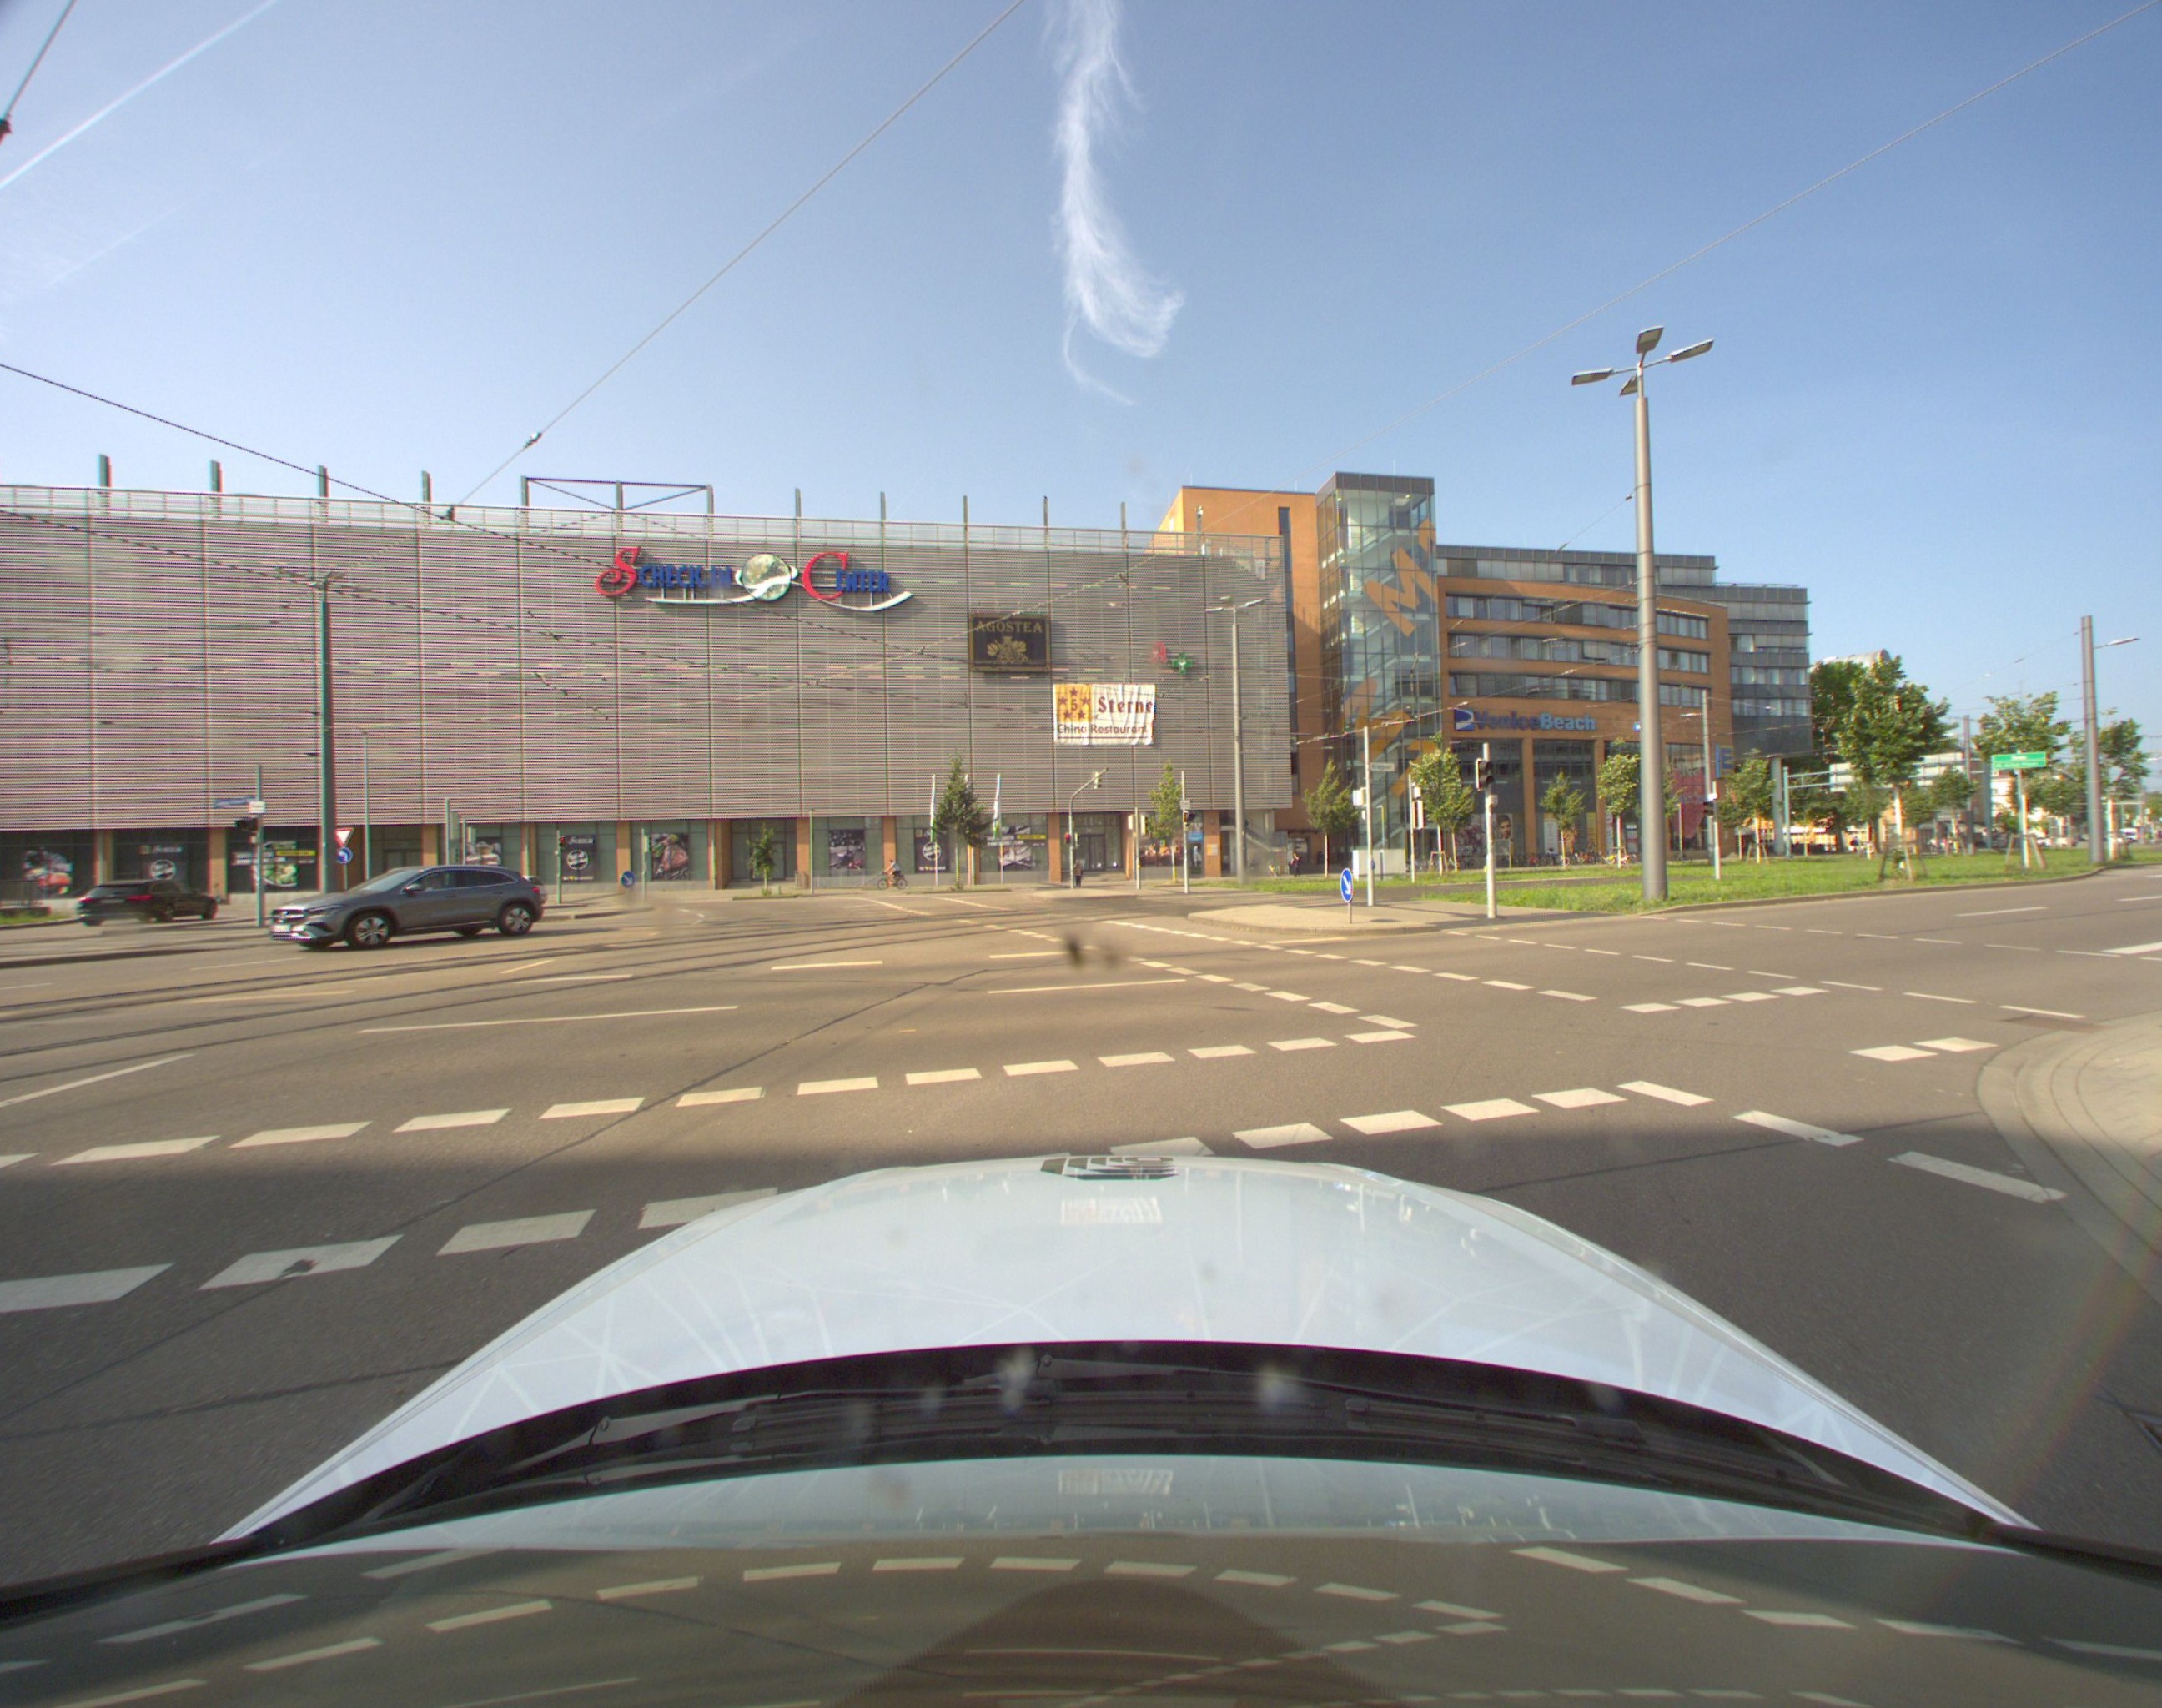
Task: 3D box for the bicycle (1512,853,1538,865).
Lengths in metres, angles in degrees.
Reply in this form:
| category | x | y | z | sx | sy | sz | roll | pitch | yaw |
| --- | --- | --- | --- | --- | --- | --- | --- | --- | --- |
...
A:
| category | x | y | z | sx | sy | sz | roll | pitch | yaw |
| --- | --- | --- | --- | --- | --- | --- | --- | --- | --- |
| bicycle | 35.224 | 0.385 | 64.692 | 0.572 | 0.921 | 2.045 | -1 | -1 | -14 |

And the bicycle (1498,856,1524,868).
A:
| category | x | y | z | sx | sy | sz | roll | pitch | yaw |
| --- | --- | --- | --- | --- | --- | --- | --- | --- | --- |
| bicycle | 33.964 | 0.615 | 64.303 | 0.572 | 0.921 | 2.045 | -1 | -1 | -14 |

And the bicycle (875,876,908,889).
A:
| category | x | y | z | sx | sy | sz | roll | pitch | yaw |
| --- | --- | --- | --- | --- | --- | --- | --- | --- | --- |
| bicycle | -11.117 | 1.669 | 47.809 | 1.861 | 0.779 | 0.581 | 0 | -2 | -7 |

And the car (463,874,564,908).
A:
| category | x | y | z | sx | sy | sz | roll | pitch | yaw |
| --- | --- | --- | --- | --- | --- | --- | --- | --- | --- |
| car | -26.470 | 1.705 | 38.087 | 3.391 | 1.560 | 1.737 | 0 | -1 | -10 |

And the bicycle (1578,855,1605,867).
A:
| category | x | y | z | sx | sy | sz | roll | pitch | yaw |
| --- | --- | --- | --- | --- | --- | --- | --- | --- | --- |
| bicycle | 41.873 | 0.562 | 66.841 | 0.572 | 0.921 | 2.045 | -1 | -1 | -14 |

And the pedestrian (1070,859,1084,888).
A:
| category | x | y | z | sx | sy | sz | roll | pitch | yaw |
| --- | --- | --- | --- | --- | --- | --- | --- | --- | --- |
| pedestrian | -0.204 | 1.108 | 45.829 | 0.589 | 1.579 | 0.760 | -1 | -1 | -13 |

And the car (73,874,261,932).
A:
| category | x | y | z | sx | sy | sz | roll | pitch | yaw |
| --- | --- | --- | --- | --- | --- | --- | --- | --- | --- |
| car | -30.527 | 1.579 | 27.404 | 1.991 | 1.695 | 3.991 | -1 | 0 | -6 |

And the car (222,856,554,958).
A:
| category | x | y | z | sx | sy | sz | roll | pitch | yaw |
| --- | --- | --- | --- | --- | --- | --- | --- | --- | --- |
| car | -13.905 | 0.978 | 16.804 | 1.932 | 1.783 | 4.839 | -1 | -1 | 21 |

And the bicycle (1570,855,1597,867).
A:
| category | x | y | z | sx | sy | sz | roll | pitch | yaw |
| --- | --- | --- | --- | --- | --- | --- | --- | --- | --- |
| bicycle | 41.020 | 0.595 | 66.551 | 0.572 | 0.921 | 2.045 | -1 | -1 | -14 |

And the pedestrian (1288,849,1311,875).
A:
| category | x | y | z | sx | sy | sz | roll | pitch | yaw |
| --- | --- | --- | --- | --- | --- | --- | --- | --- | --- |
| pedestrian | 14.651 | 0.557 | 54.626 | 1.172 | 1.719 | 0.817 | -2 | -1 | -9 |

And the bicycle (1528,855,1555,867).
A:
| category | x | y | z | sx | sy | sz | roll | pitch | yaw |
| --- | --- | --- | --- | --- | --- | --- | --- | --- | --- |
| bicycle | 36.854 | 0.551 | 65.226 | 0.572 | 0.921 | 2.045 | -1 | -1 | -14 |

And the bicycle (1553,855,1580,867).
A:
| category | x | y | z | sx | sy | sz | roll | pitch | yaw |
| --- | --- | --- | --- | --- | --- | --- | --- | --- | --- |
| bicycle | 39.356 | 0.584 | 66.002 | 0.572 | 0.921 | 2.045 | -1 | -1 | -14 |

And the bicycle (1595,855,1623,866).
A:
| category | x | y | z | sx | sy | sz | roll | pitch | yaw |
| --- | --- | --- | --- | --- | --- | --- | --- | --- | --- |
| bicycle | 43.520 | 0.548 | 67.132 | 0.572 | 0.921 | 2.045 | -1 | -1 | -14 |

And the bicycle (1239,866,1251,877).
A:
| category | x | y | z | sx | sy | sz | roll | pitch | yaw |
| --- | --- | --- | --- | --- | --- | --- | --- | --- | --- |
| bicycle | 11.020 | 1.180 | 54.788 | 0.450 | 0.752 | 1.003 | -2 | -1 | -8 |

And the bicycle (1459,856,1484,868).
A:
| category | x | y | z | sx | sy | sz | roll | pitch | yaw |
| --- | --- | --- | --- | --- | --- | --- | --- | --- | --- |
| bicycle | 30.407 | 0.612 | 63.405 | 0.572 | 0.921 | 2.045 | -1 | -1 | -14 |

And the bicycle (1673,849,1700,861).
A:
| category | x | y | z | sx | sy | sz | roll | pitch | yaw |
| --- | --- | --- | --- | --- | --- | --- | --- | --- | --- |
| bicycle | 46.842 | 0.095 | 63.011 | 0.707 | 0.907 | 1.675 | -1 | -1 | -9 |

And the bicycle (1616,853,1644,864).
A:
| category | x | y | z | sx | sy | sz | roll | pitch | yaw |
| --- | --- | --- | --- | --- | --- | --- | --- | --- | --- |
| bicycle | 45.749 | 0.370 | 67.911 | 0.572 | 0.921 | 2.045 | -1 | -1 | -14 |

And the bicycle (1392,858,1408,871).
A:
| category | x | y | z | sx | sy | sz | roll | pitch | yaw |
| --- | --- | --- | --- | --- | --- | --- | --- | --- | --- |
| bicycle | 22.943 | 0.767 | 58.565 | 0.256 | 0.887 | 1.461 | 0 | -1 | -13 |

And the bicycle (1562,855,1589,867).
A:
| category | x | y | z | sx | sy | sz | roll | pitch | yaw |
| --- | --- | --- | --- | --- | --- | --- | --- | --- | --- |
| bicycle | 40.181 | 0.592 | 66.246 | 0.572 | 0.921 | 2.045 | -1 | -1 | -14 |

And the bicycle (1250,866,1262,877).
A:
| category | x | y | z | sx | sy | sz | roll | pitch | yaw |
| --- | --- | --- | --- | --- | --- | --- | --- | --- | --- |
| bicycle | 11.792 | 1.174 | 54.919 | 0.450 | 0.752 | 1.003 | -2 | -1 | -8 |

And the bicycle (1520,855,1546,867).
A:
| category | x | y | z | sx | sy | sz | roll | pitch | yaw |
| --- | --- | --- | --- | --- | --- | --- | --- | --- | --- |
| bicycle | 36.031 | 0.591 | 64.936 | 0.572 | 0.921 | 2.045 | -1 | -1 | -14 |

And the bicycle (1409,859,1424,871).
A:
| category | x | y | z | sx | sy | sz | roll | pitch | yaw |
| --- | --- | --- | --- | --- | --- | --- | --- | --- | --- |
| bicycle | 24.223 | 0.762 | 58.825 | 0.256 | 0.830 | 1.462 | 0 | 1 | -13 |

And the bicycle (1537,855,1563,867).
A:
| category | x | y | z | sx | sy | sz | roll | pitch | yaw |
| --- | --- | --- | --- | --- | --- | --- | --- | --- | --- |
| bicycle | 37.663 | 0.576 | 65.454 | 0.572 | 0.921 | 2.045 | -1 | -1 | -14 |

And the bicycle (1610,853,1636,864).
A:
| category | x | y | z | sx | sy | sz | roll | pitch | yaw |
| --- | --- | --- | --- | --- | --- | --- | --- | --- | --- |
| bicycle | 45.050 | 0.368 | 67.678 | 0.380 | 0.921 | 2.045 | -1 | -1 | -14 |

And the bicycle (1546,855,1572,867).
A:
| category | x | y | z | sx | sy | sz | roll | pitch | yaw |
| --- | --- | --- | --- | --- | --- | --- | --- | --- | --- |
| bicycle | 38.548 | 0.581 | 65.699 | 0.572 | 0.921 | 2.045 | -1 | -1 | -14 |

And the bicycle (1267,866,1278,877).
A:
| category | x | y | z | sx | sy | sz | roll | pitch | yaw |
| --- | --- | --- | --- | --- | --- | --- | --- | --- | --- |
| bicycle | 12.965 | 1.166 | 55.100 | 0.359 | 0.752 | 1.021 | -2 | -1 | -8 |

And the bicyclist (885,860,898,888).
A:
| category | x | y | z | sx | sy | sz | roll | pitch | yaw |
| --- | --- | --- | --- | --- | --- | --- | --- | --- | --- |
| bicyclist | -11.111 | 1.165 | 47.824 | 0.712 | 1.630 | 0.566 | 0 | -2 | -11 |

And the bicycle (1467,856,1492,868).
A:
| category | x | y | z | sx | sy | sz | roll | pitch | yaw |
| --- | --- | --- | --- | --- | --- | --- | --- | --- | --- |
| bicycle | 31.110 | 0.614 | 63.625 | 0.572 | 0.921 | 2.045 | -1 | -1 | -14 |
